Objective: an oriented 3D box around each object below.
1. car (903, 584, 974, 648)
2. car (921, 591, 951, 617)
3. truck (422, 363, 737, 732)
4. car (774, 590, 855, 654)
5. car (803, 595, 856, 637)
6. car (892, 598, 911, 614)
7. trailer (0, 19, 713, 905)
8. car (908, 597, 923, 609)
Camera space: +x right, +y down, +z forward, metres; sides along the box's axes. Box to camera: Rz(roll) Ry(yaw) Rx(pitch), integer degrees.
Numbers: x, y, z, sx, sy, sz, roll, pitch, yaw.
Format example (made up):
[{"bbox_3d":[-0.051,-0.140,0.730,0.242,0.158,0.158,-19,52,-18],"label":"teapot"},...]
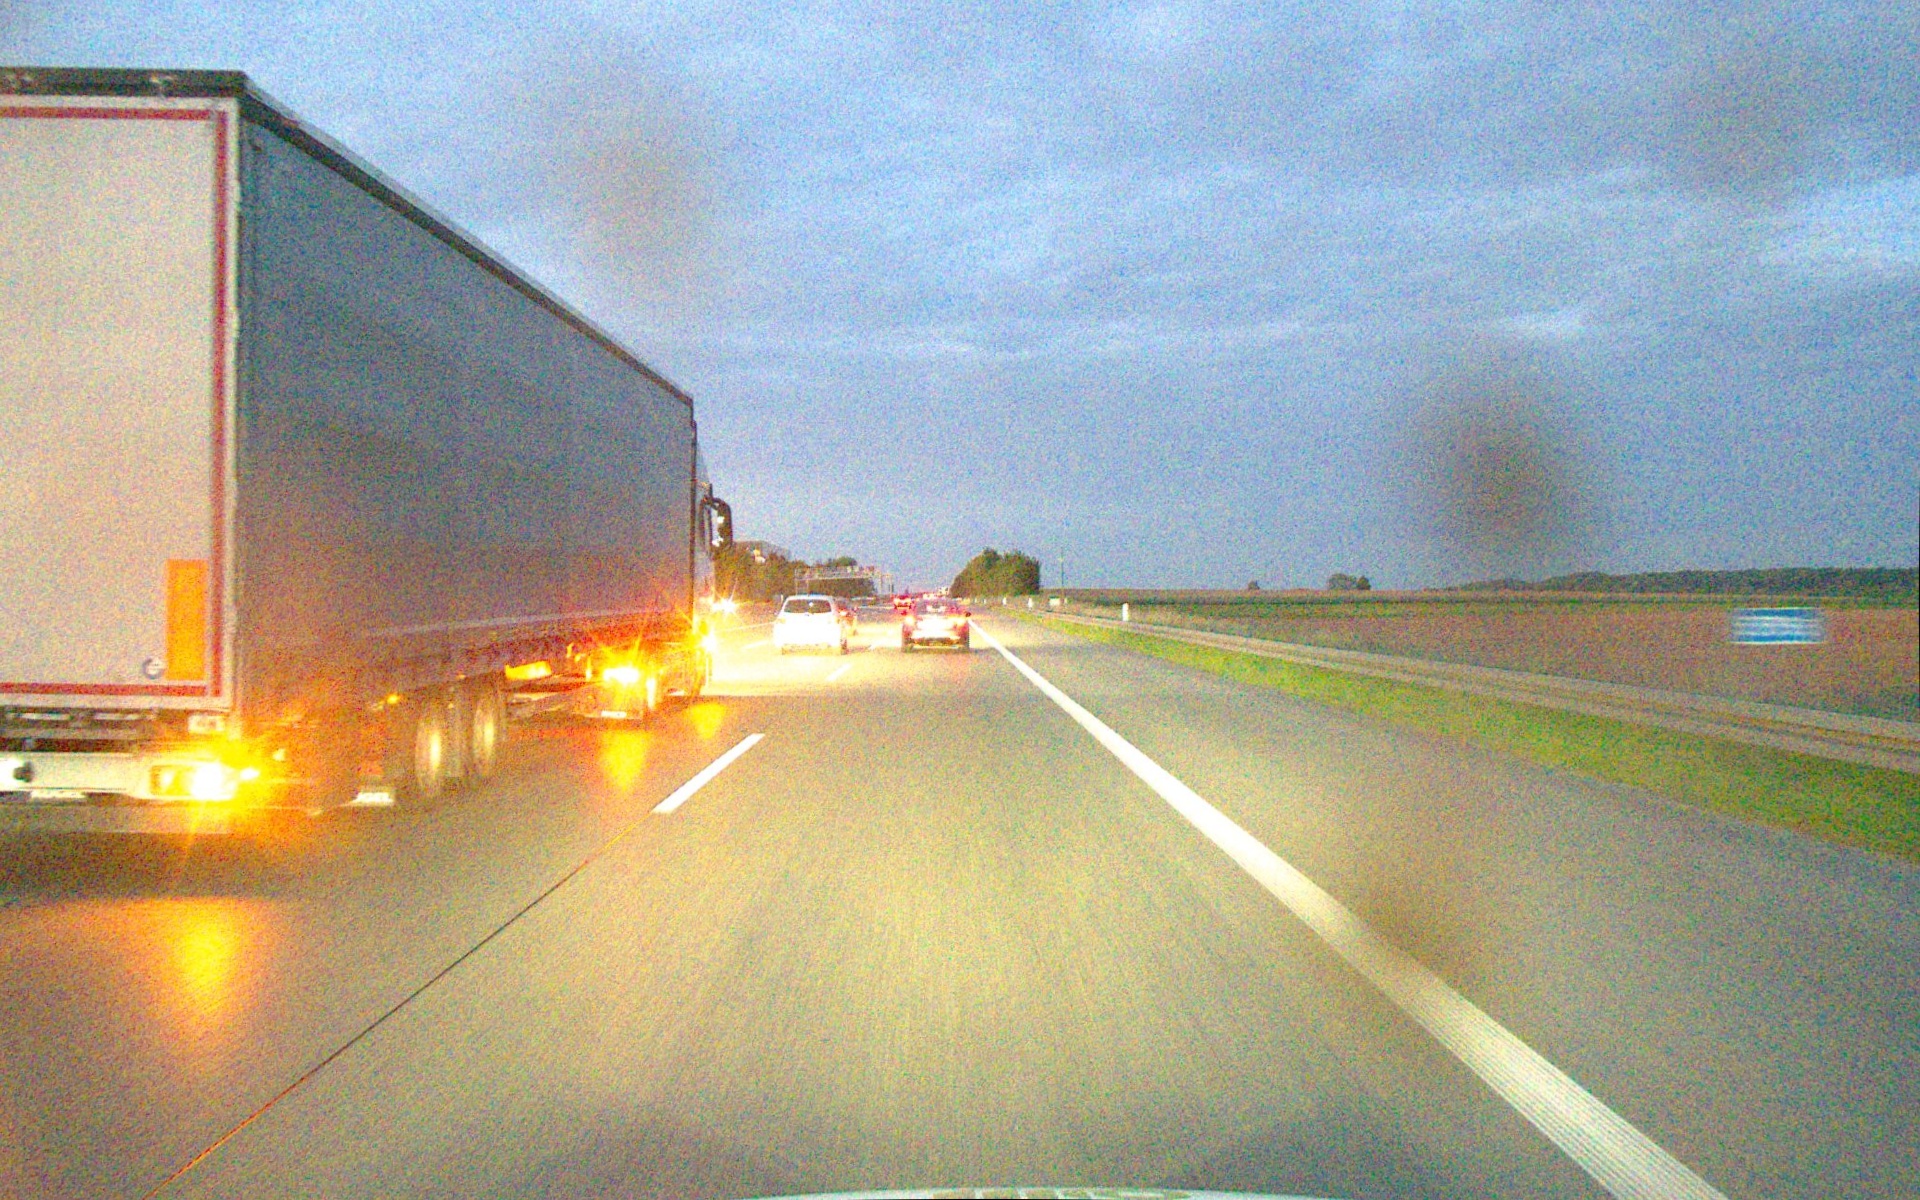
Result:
[{"bbox_3d":[-0.596,0.430,45.562,1.842,1.672,3.999,1,0,-1],"label":"car"},{"bbox_3d":[-1.514,0.251,103.888,1.842,1.579,3.999,1,0,-1],"label":"car"},{"bbox_3d":[-4.719,-0.583,21.764,2.721,4.164,6.102,0,0,0],"label":"truck"},{"bbox_3d":[-3.745,0.554,43.117,1.708,1.551,4.413,1,0,0],"label":"car"},{"bbox_3d":[-4.892,0.598,62.332,1.688,1.497,4.725,1,0,-1],"label":"car"},{"bbox_3d":[-6.024,0.616,170.421,1.842,1.579,3.999,1,0,-1],"label":"car"},{"bbox_3d":[-4.720,-0.606,15.013,2.737,4.157,14.524,0,0,0],"label":"trailer"},{"bbox_3d":[-6.953,0.454,259.082,2.154,1.912,3.999,1,0,-1],"label":"car"}]
